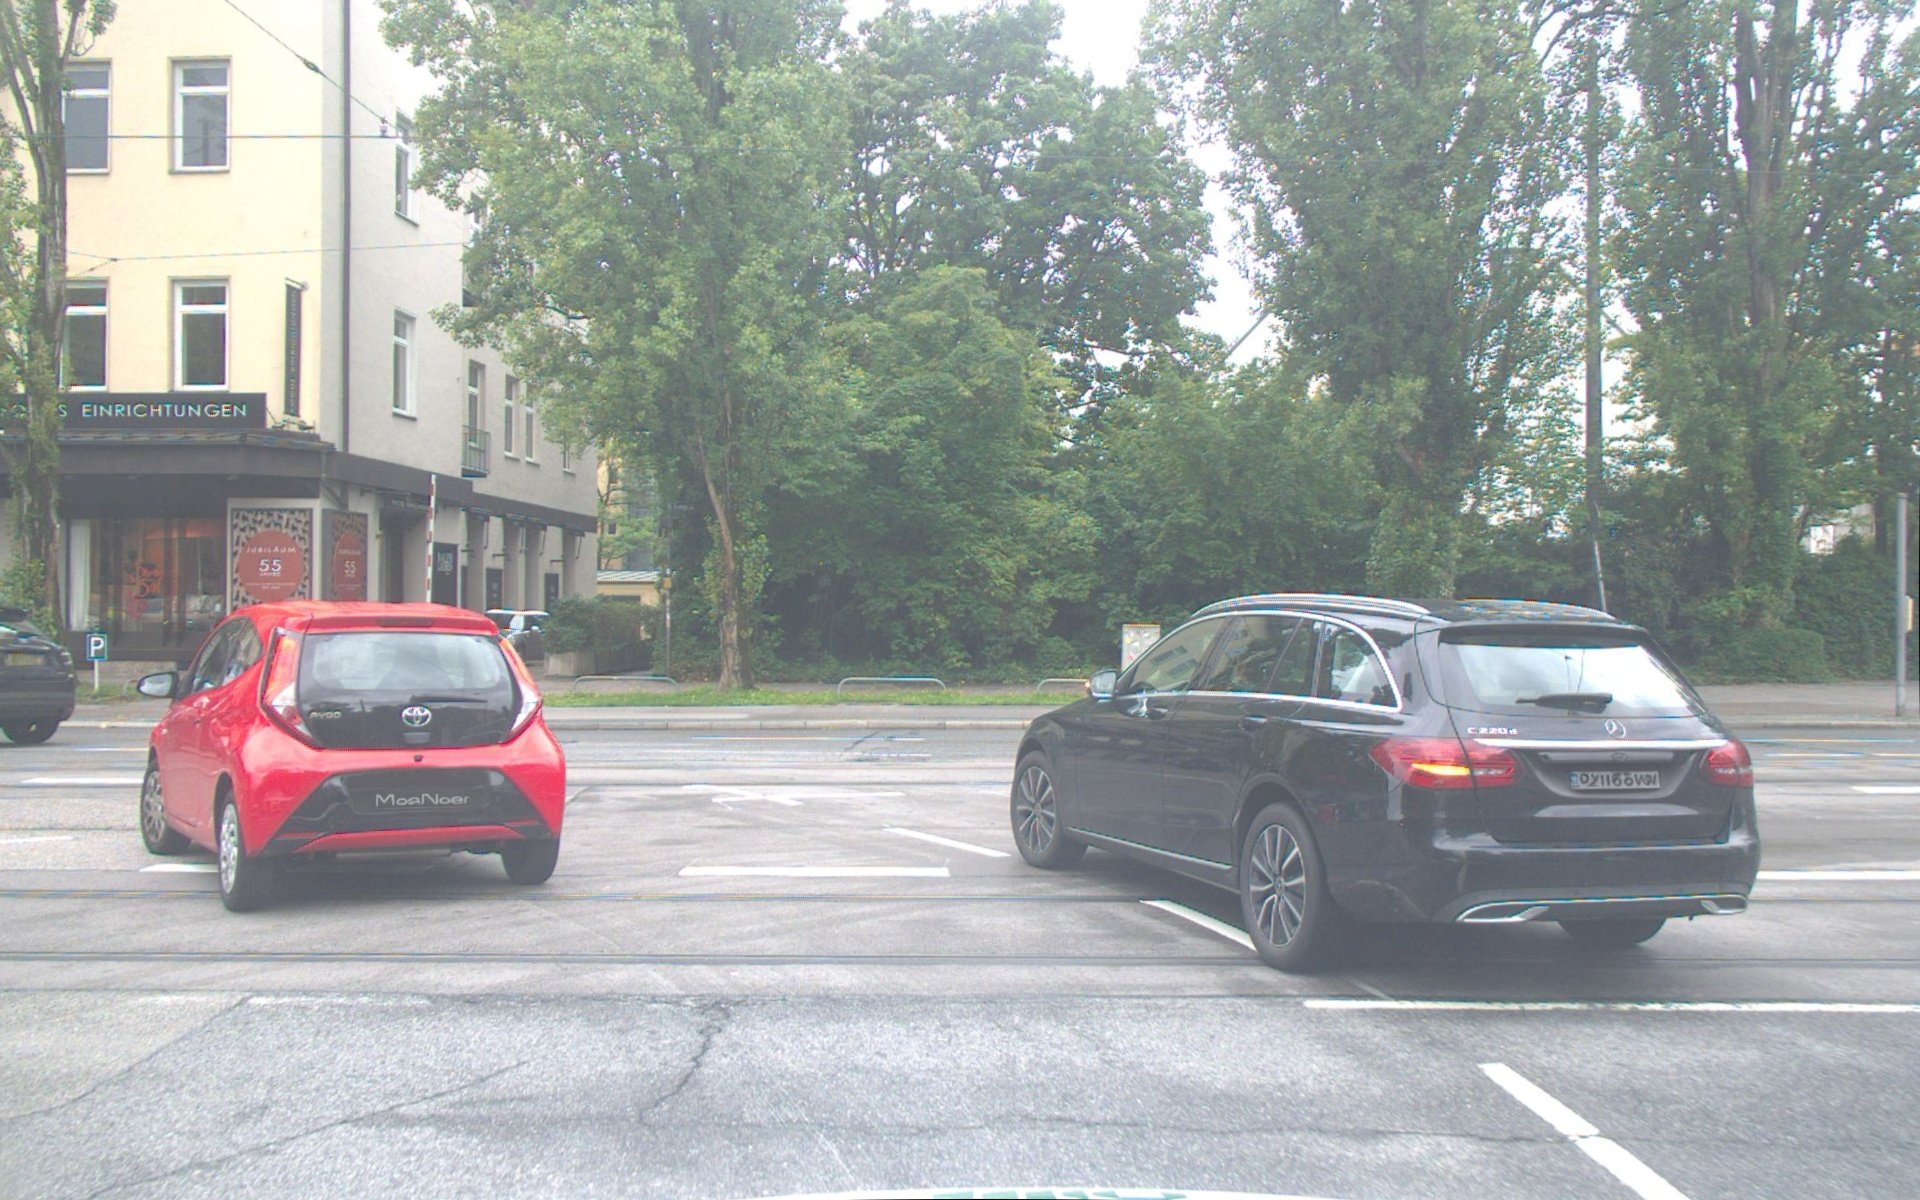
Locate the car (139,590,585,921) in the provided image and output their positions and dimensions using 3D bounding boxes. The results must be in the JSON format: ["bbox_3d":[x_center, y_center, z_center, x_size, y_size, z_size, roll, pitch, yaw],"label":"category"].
[{"bbox_3d":[-3.449,0.696,9.190,1.614,1.465,3.337,0,0,-33],"label":"car"}]

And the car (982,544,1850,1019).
[{"bbox_3d":[1.702,0.604,8.023,1.834,1.576,4.680,1,0,-17],"label":"car"}]

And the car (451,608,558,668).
[{"bbox_3d":[-11.776,0.946,42.994,1.690,1.467,3.999,0,0,-1],"label":"car"}]

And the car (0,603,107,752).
[{"bbox_3d":[-11.491,0.806,17.793,3.902,1.512,1.788,0,-1,14],"label":"car"}]
